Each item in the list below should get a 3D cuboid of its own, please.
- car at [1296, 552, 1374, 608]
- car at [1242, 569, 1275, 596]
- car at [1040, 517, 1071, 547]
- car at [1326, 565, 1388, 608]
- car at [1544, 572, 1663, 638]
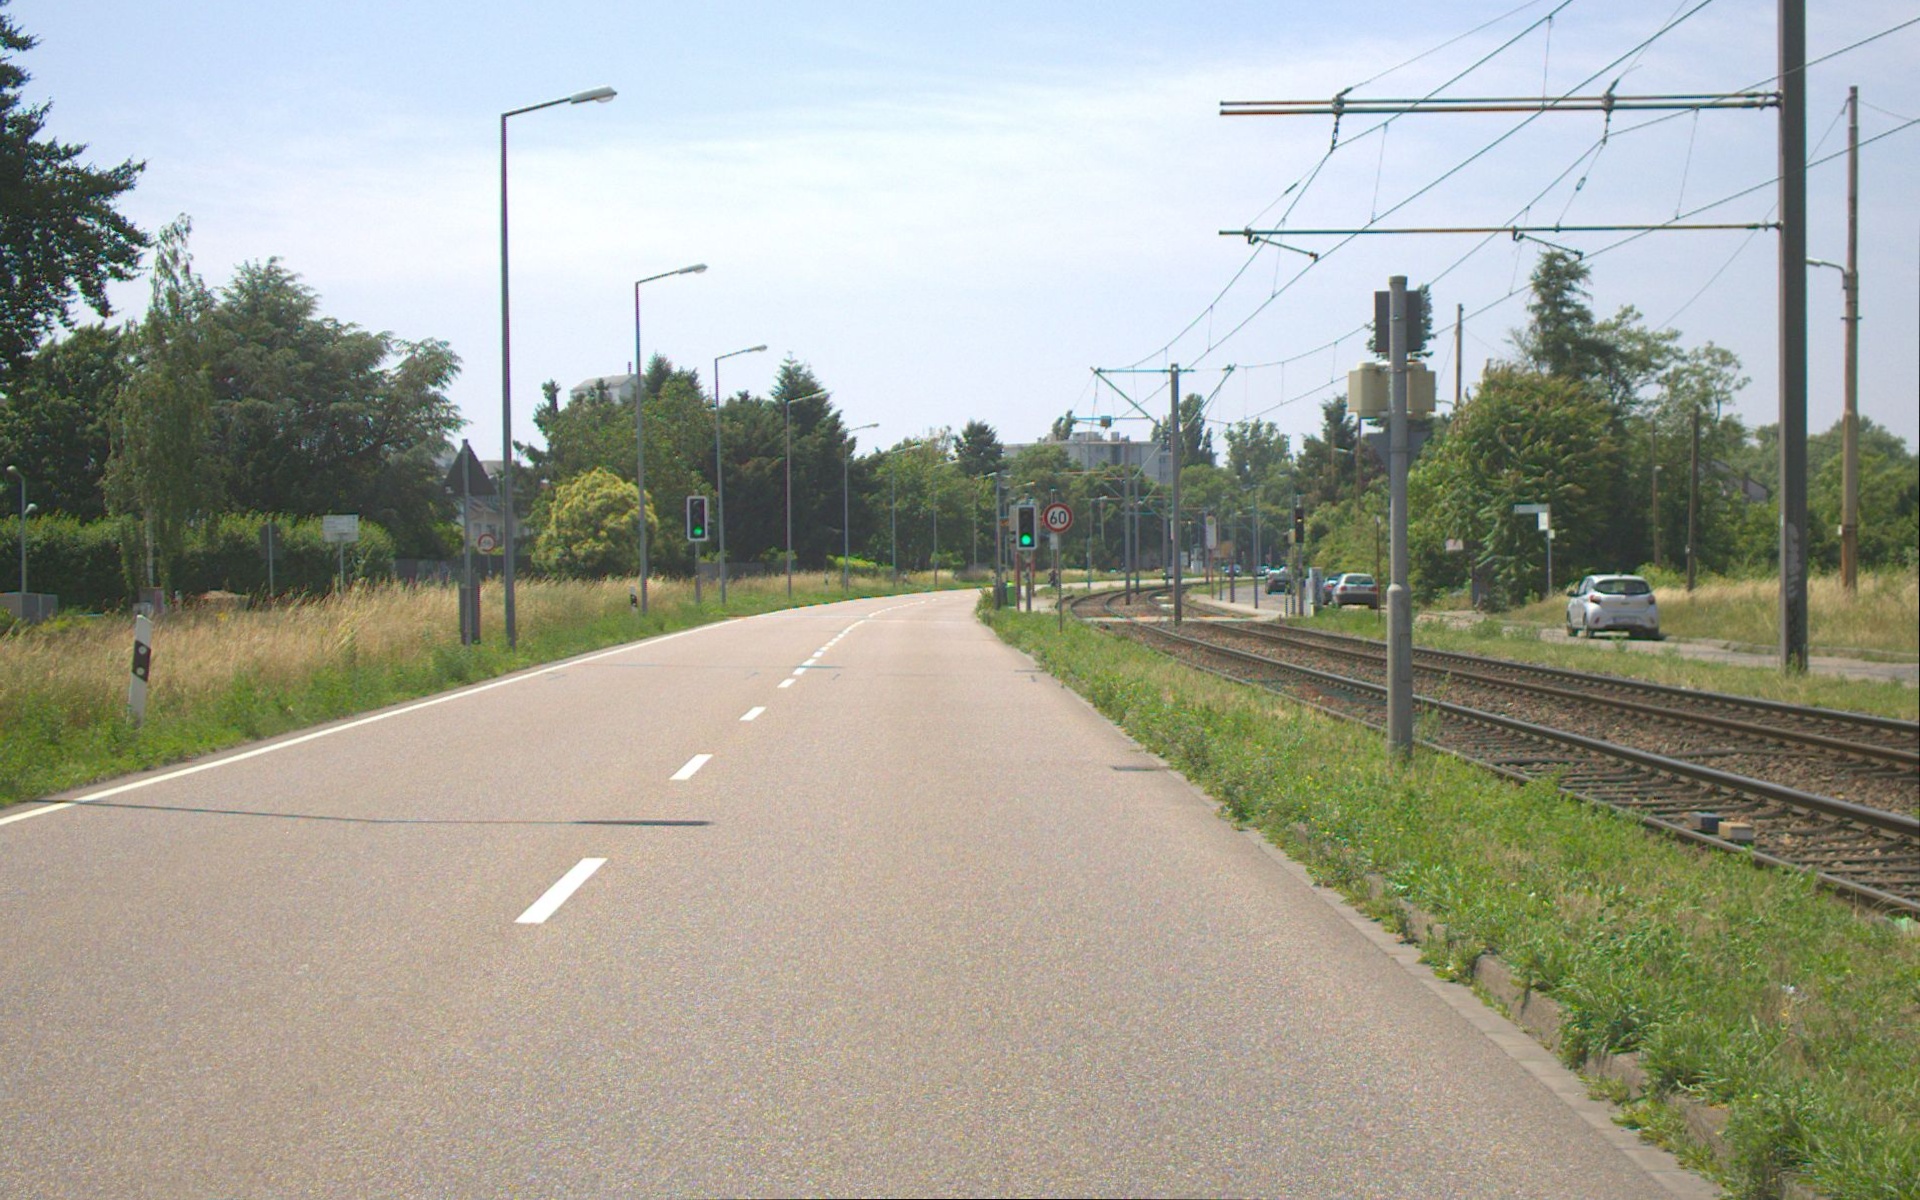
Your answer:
[{"bbox_3d":[10.708,-0.566,98.432,1.744,1.554,4.000,-1,0,0],"label":"car"},{"bbox_3d":[19.494,-1.148,224.896,1.757,1.744,4.000,-1,0,0],"label":"car"},{"bbox_3d":[5.292,-3.779,191.215,1.551,1.579,3.569,-1,0,0],"label":"car"},{"bbox_3d":[15.750,-0.542,136.534,1.915,1.656,4.000,-1,0,0],"label":"car"},{"bbox_3d":[15.162,0.116,81.136,1.993,1.503,4.000,-1,0,-1],"label":"car"}]
